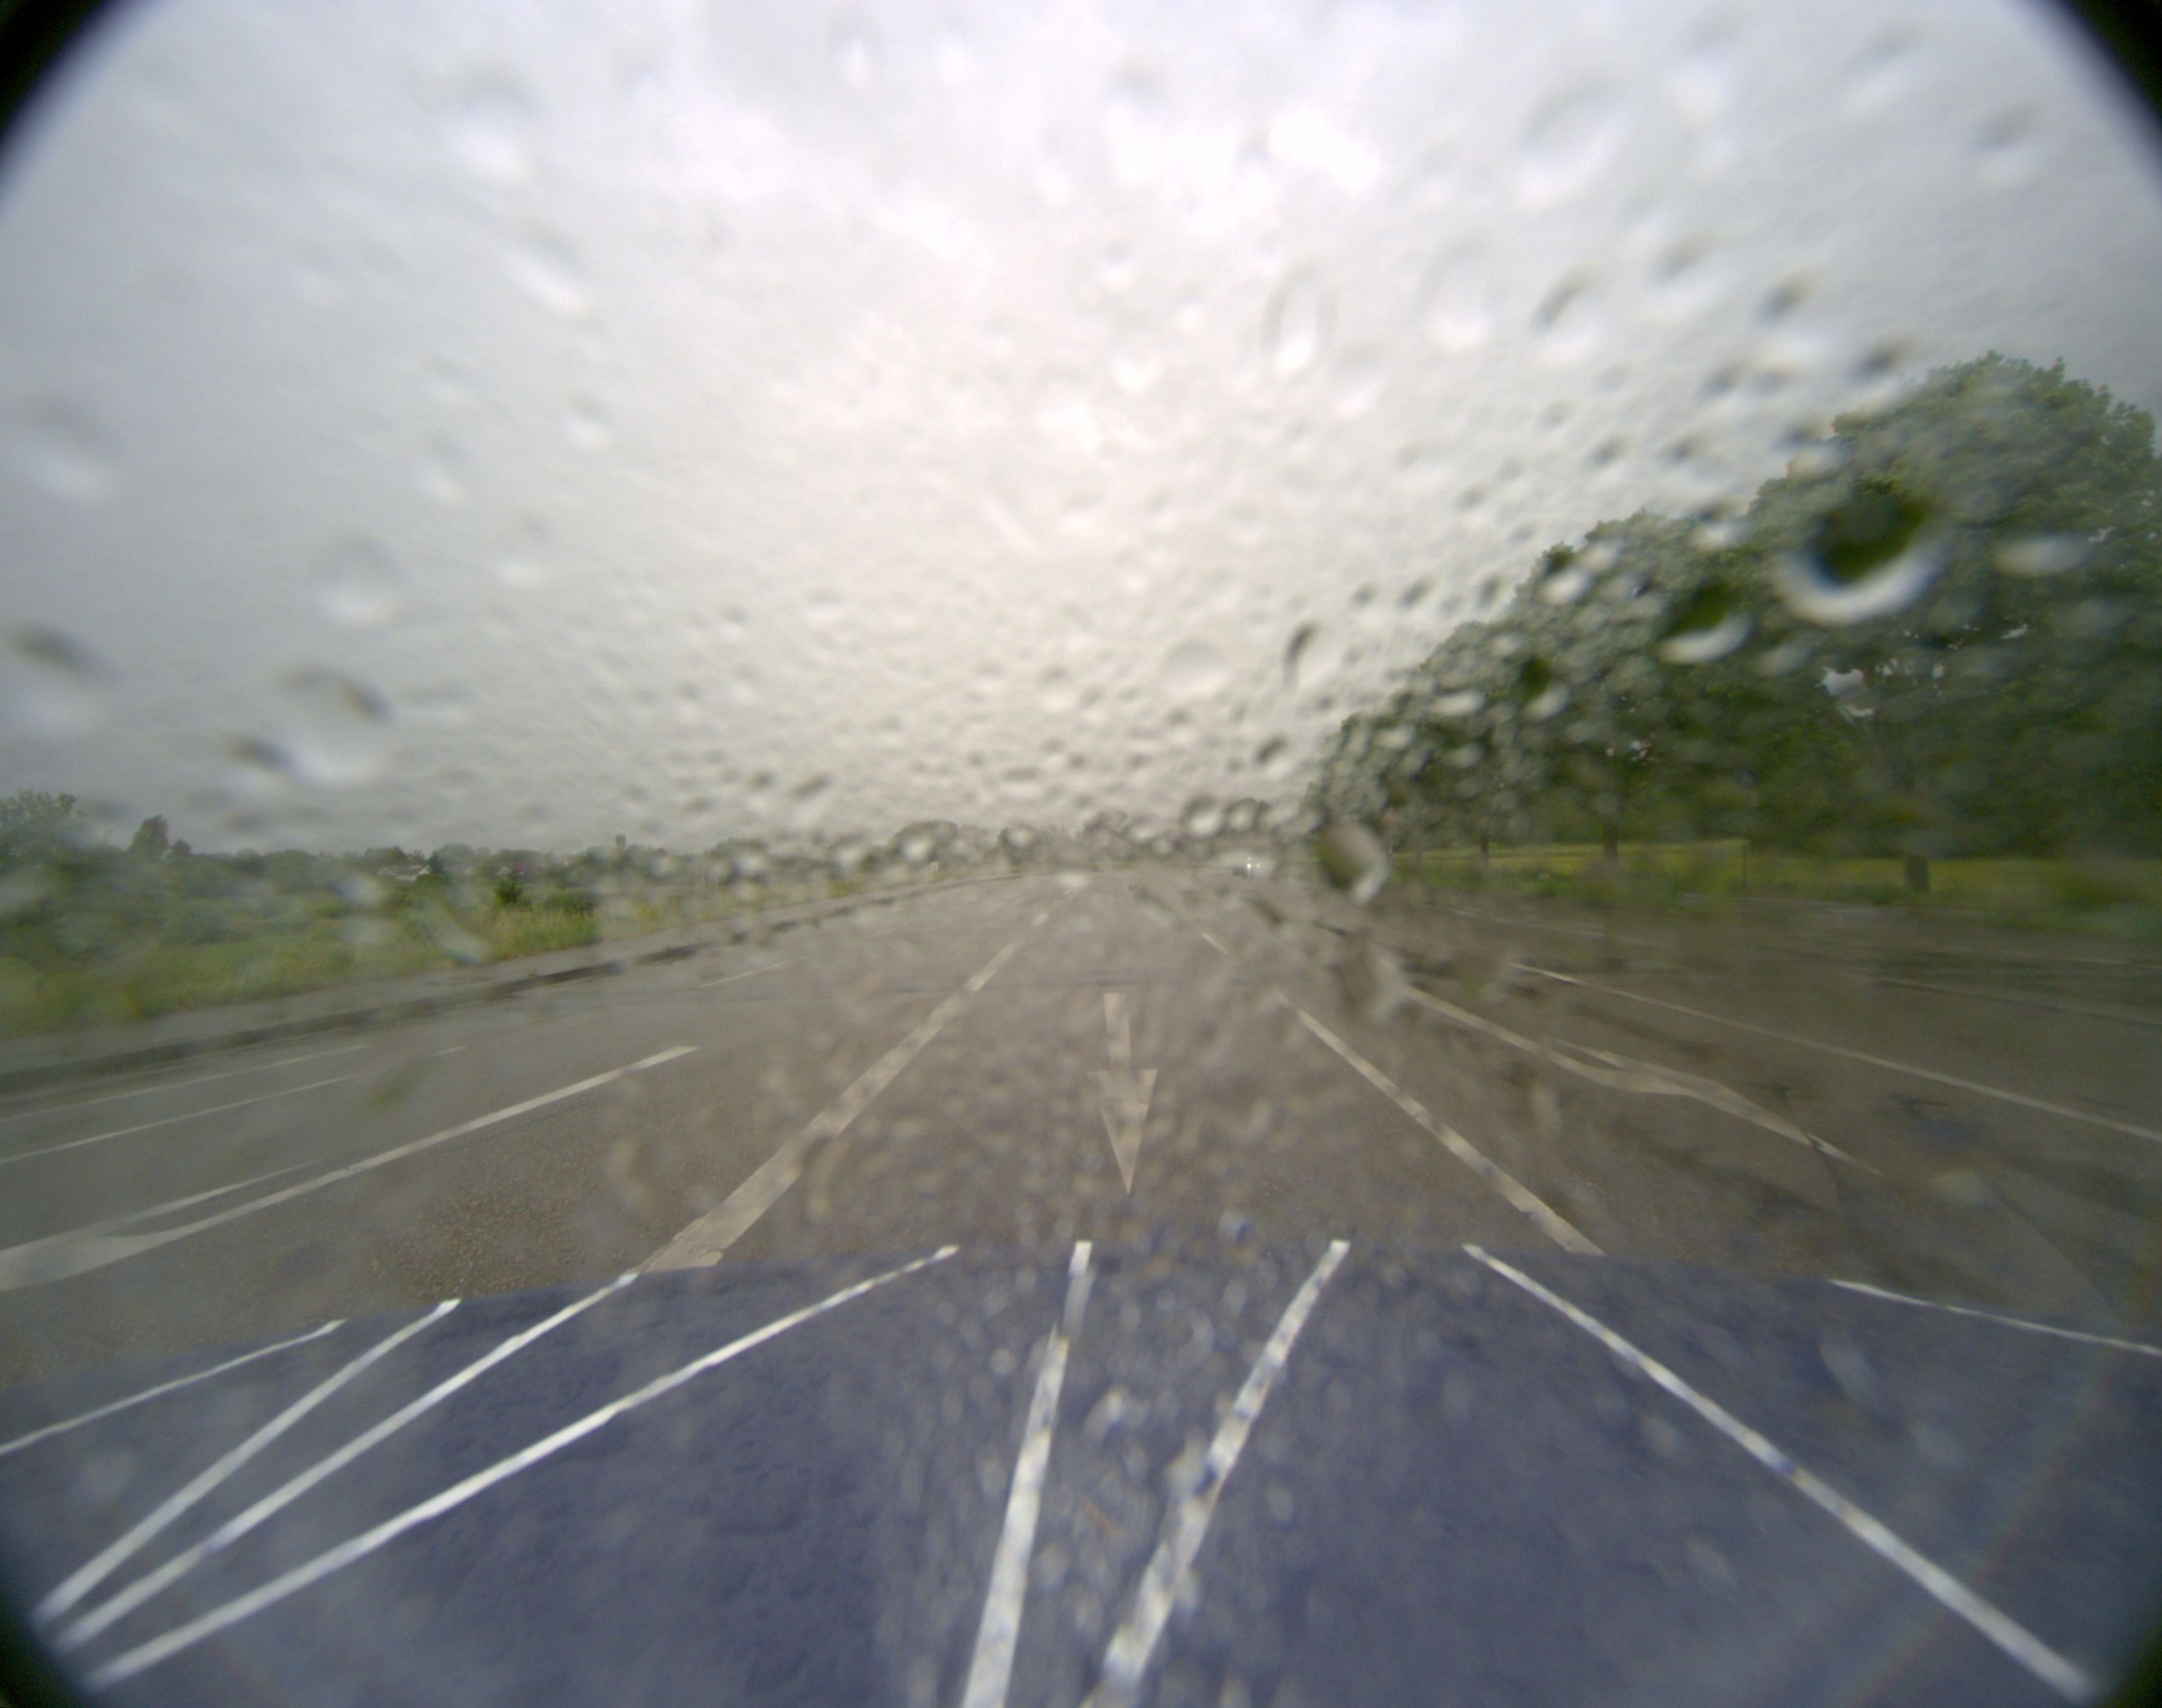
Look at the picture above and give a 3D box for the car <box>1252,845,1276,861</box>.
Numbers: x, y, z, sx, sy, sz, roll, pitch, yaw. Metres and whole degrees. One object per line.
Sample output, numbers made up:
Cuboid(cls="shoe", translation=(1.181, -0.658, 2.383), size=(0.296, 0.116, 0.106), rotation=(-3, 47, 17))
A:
Cuboid(cls="car", translation=(22.992, -0.149, 95.417), size=(2.108, 1.881, 4.798), rotation=(-1, 1, 22))
